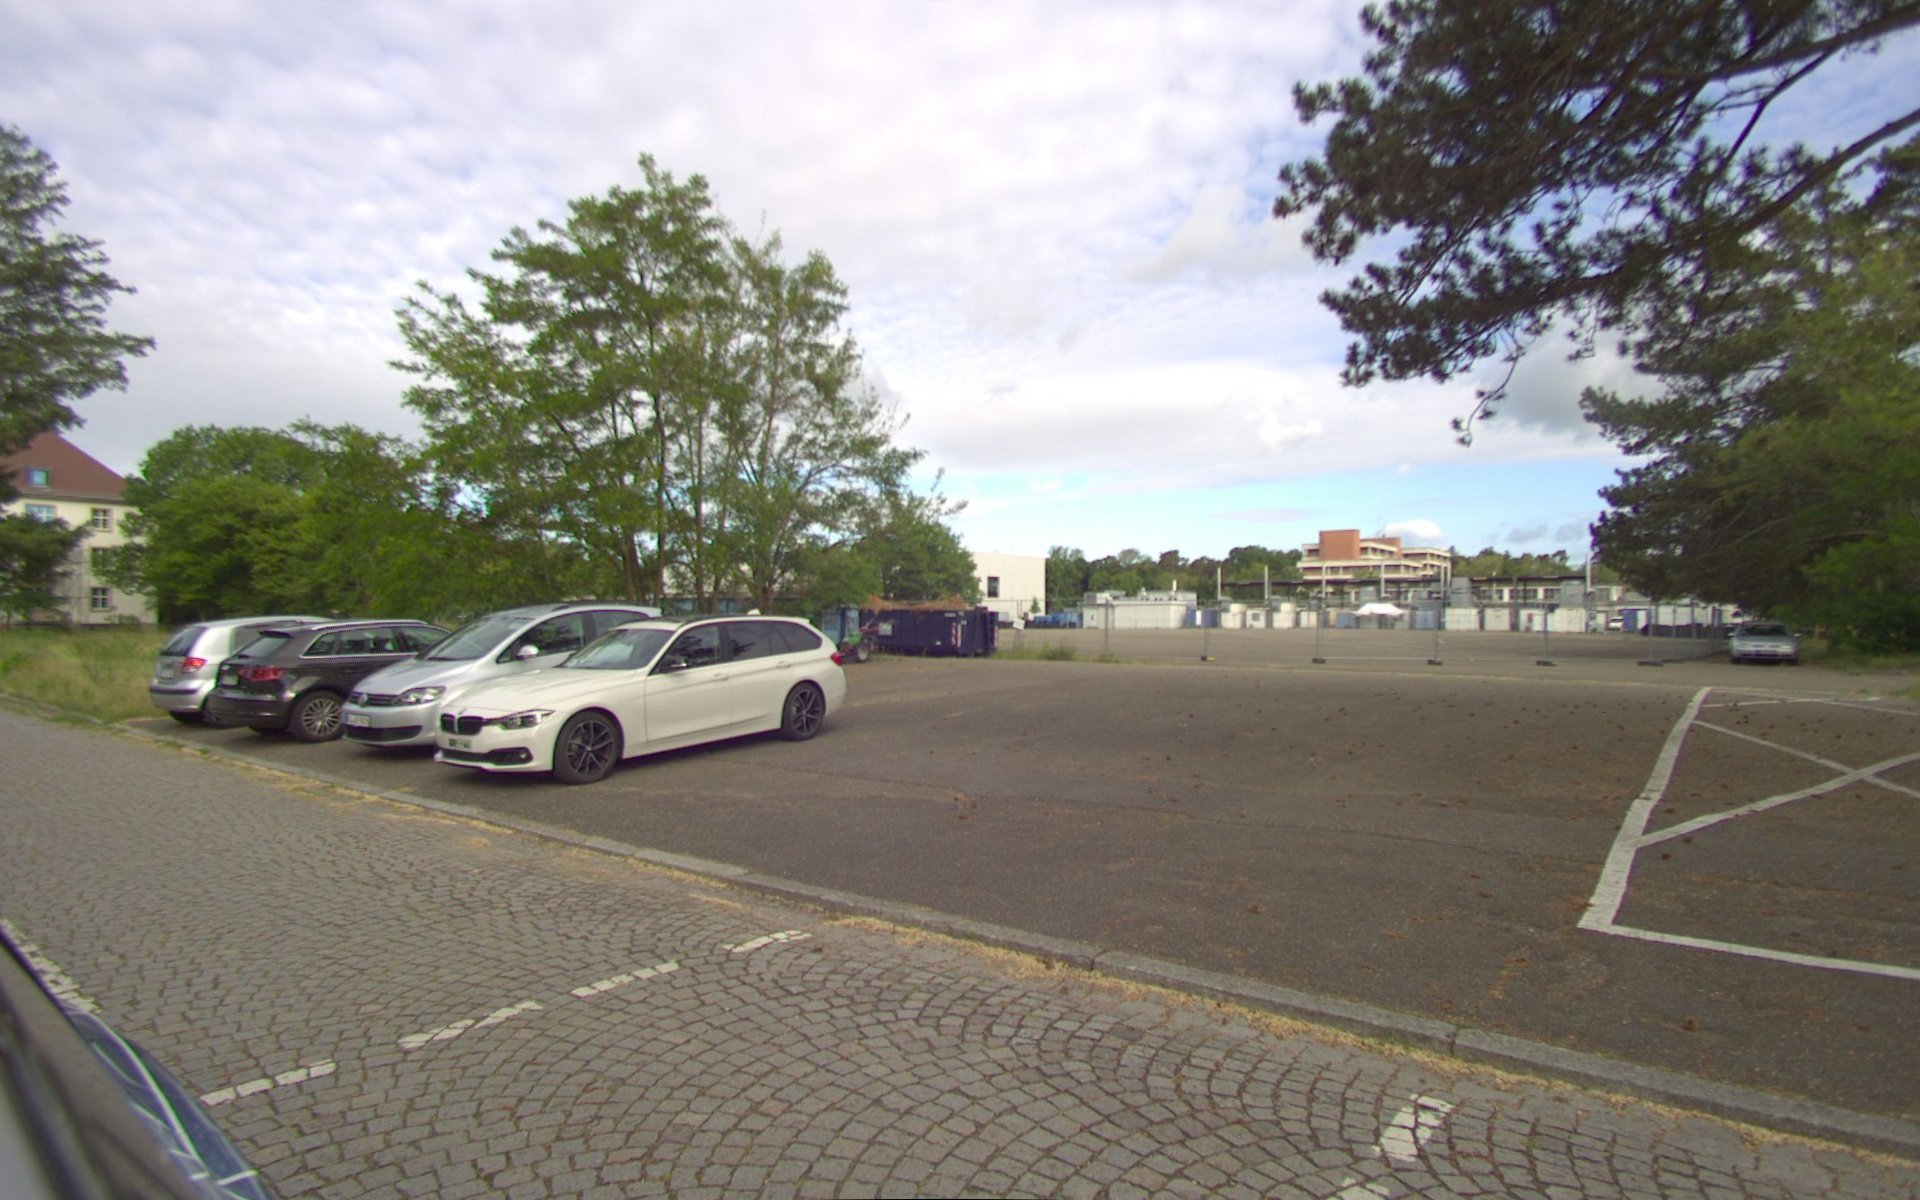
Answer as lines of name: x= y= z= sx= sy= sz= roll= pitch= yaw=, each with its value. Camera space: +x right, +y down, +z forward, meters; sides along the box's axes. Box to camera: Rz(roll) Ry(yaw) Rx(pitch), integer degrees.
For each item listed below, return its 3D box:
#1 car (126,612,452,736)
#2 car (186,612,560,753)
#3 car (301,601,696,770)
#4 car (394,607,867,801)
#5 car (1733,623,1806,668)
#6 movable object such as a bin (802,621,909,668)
car: x=-9.864 y=0.986 z=15.126 sx=1.803 sy=1.463 sz=3.648 roll=-1 pitch=1 yaw=33
car: x=-7.641 y=0.960 z=13.510 sx=1.748 sy=1.438 sz=3.951 roll=-1 pitch=1 yaw=37
car: x=-5.264 y=0.853 z=12.048 sx=1.719 sy=1.559 sz=3.955 roll=-1 pitch=1 yaw=33
car: x=-3.158 y=0.876 z=10.702 sx=1.797 sy=1.454 sz=4.609 roll=-1 pitch=1 yaw=34
car: x=26.951 y=1.463 z=33.776 sx=1.694 sy=1.403 sz=3.951 roll=-1 pitch=-2 yaw=36
movable object such as a bin: x=-2.699 y=1.121 z=26.204 sx=1.500 sy=1.170 sz=2.365 roll=-1 pitch=-2 yaw=43
